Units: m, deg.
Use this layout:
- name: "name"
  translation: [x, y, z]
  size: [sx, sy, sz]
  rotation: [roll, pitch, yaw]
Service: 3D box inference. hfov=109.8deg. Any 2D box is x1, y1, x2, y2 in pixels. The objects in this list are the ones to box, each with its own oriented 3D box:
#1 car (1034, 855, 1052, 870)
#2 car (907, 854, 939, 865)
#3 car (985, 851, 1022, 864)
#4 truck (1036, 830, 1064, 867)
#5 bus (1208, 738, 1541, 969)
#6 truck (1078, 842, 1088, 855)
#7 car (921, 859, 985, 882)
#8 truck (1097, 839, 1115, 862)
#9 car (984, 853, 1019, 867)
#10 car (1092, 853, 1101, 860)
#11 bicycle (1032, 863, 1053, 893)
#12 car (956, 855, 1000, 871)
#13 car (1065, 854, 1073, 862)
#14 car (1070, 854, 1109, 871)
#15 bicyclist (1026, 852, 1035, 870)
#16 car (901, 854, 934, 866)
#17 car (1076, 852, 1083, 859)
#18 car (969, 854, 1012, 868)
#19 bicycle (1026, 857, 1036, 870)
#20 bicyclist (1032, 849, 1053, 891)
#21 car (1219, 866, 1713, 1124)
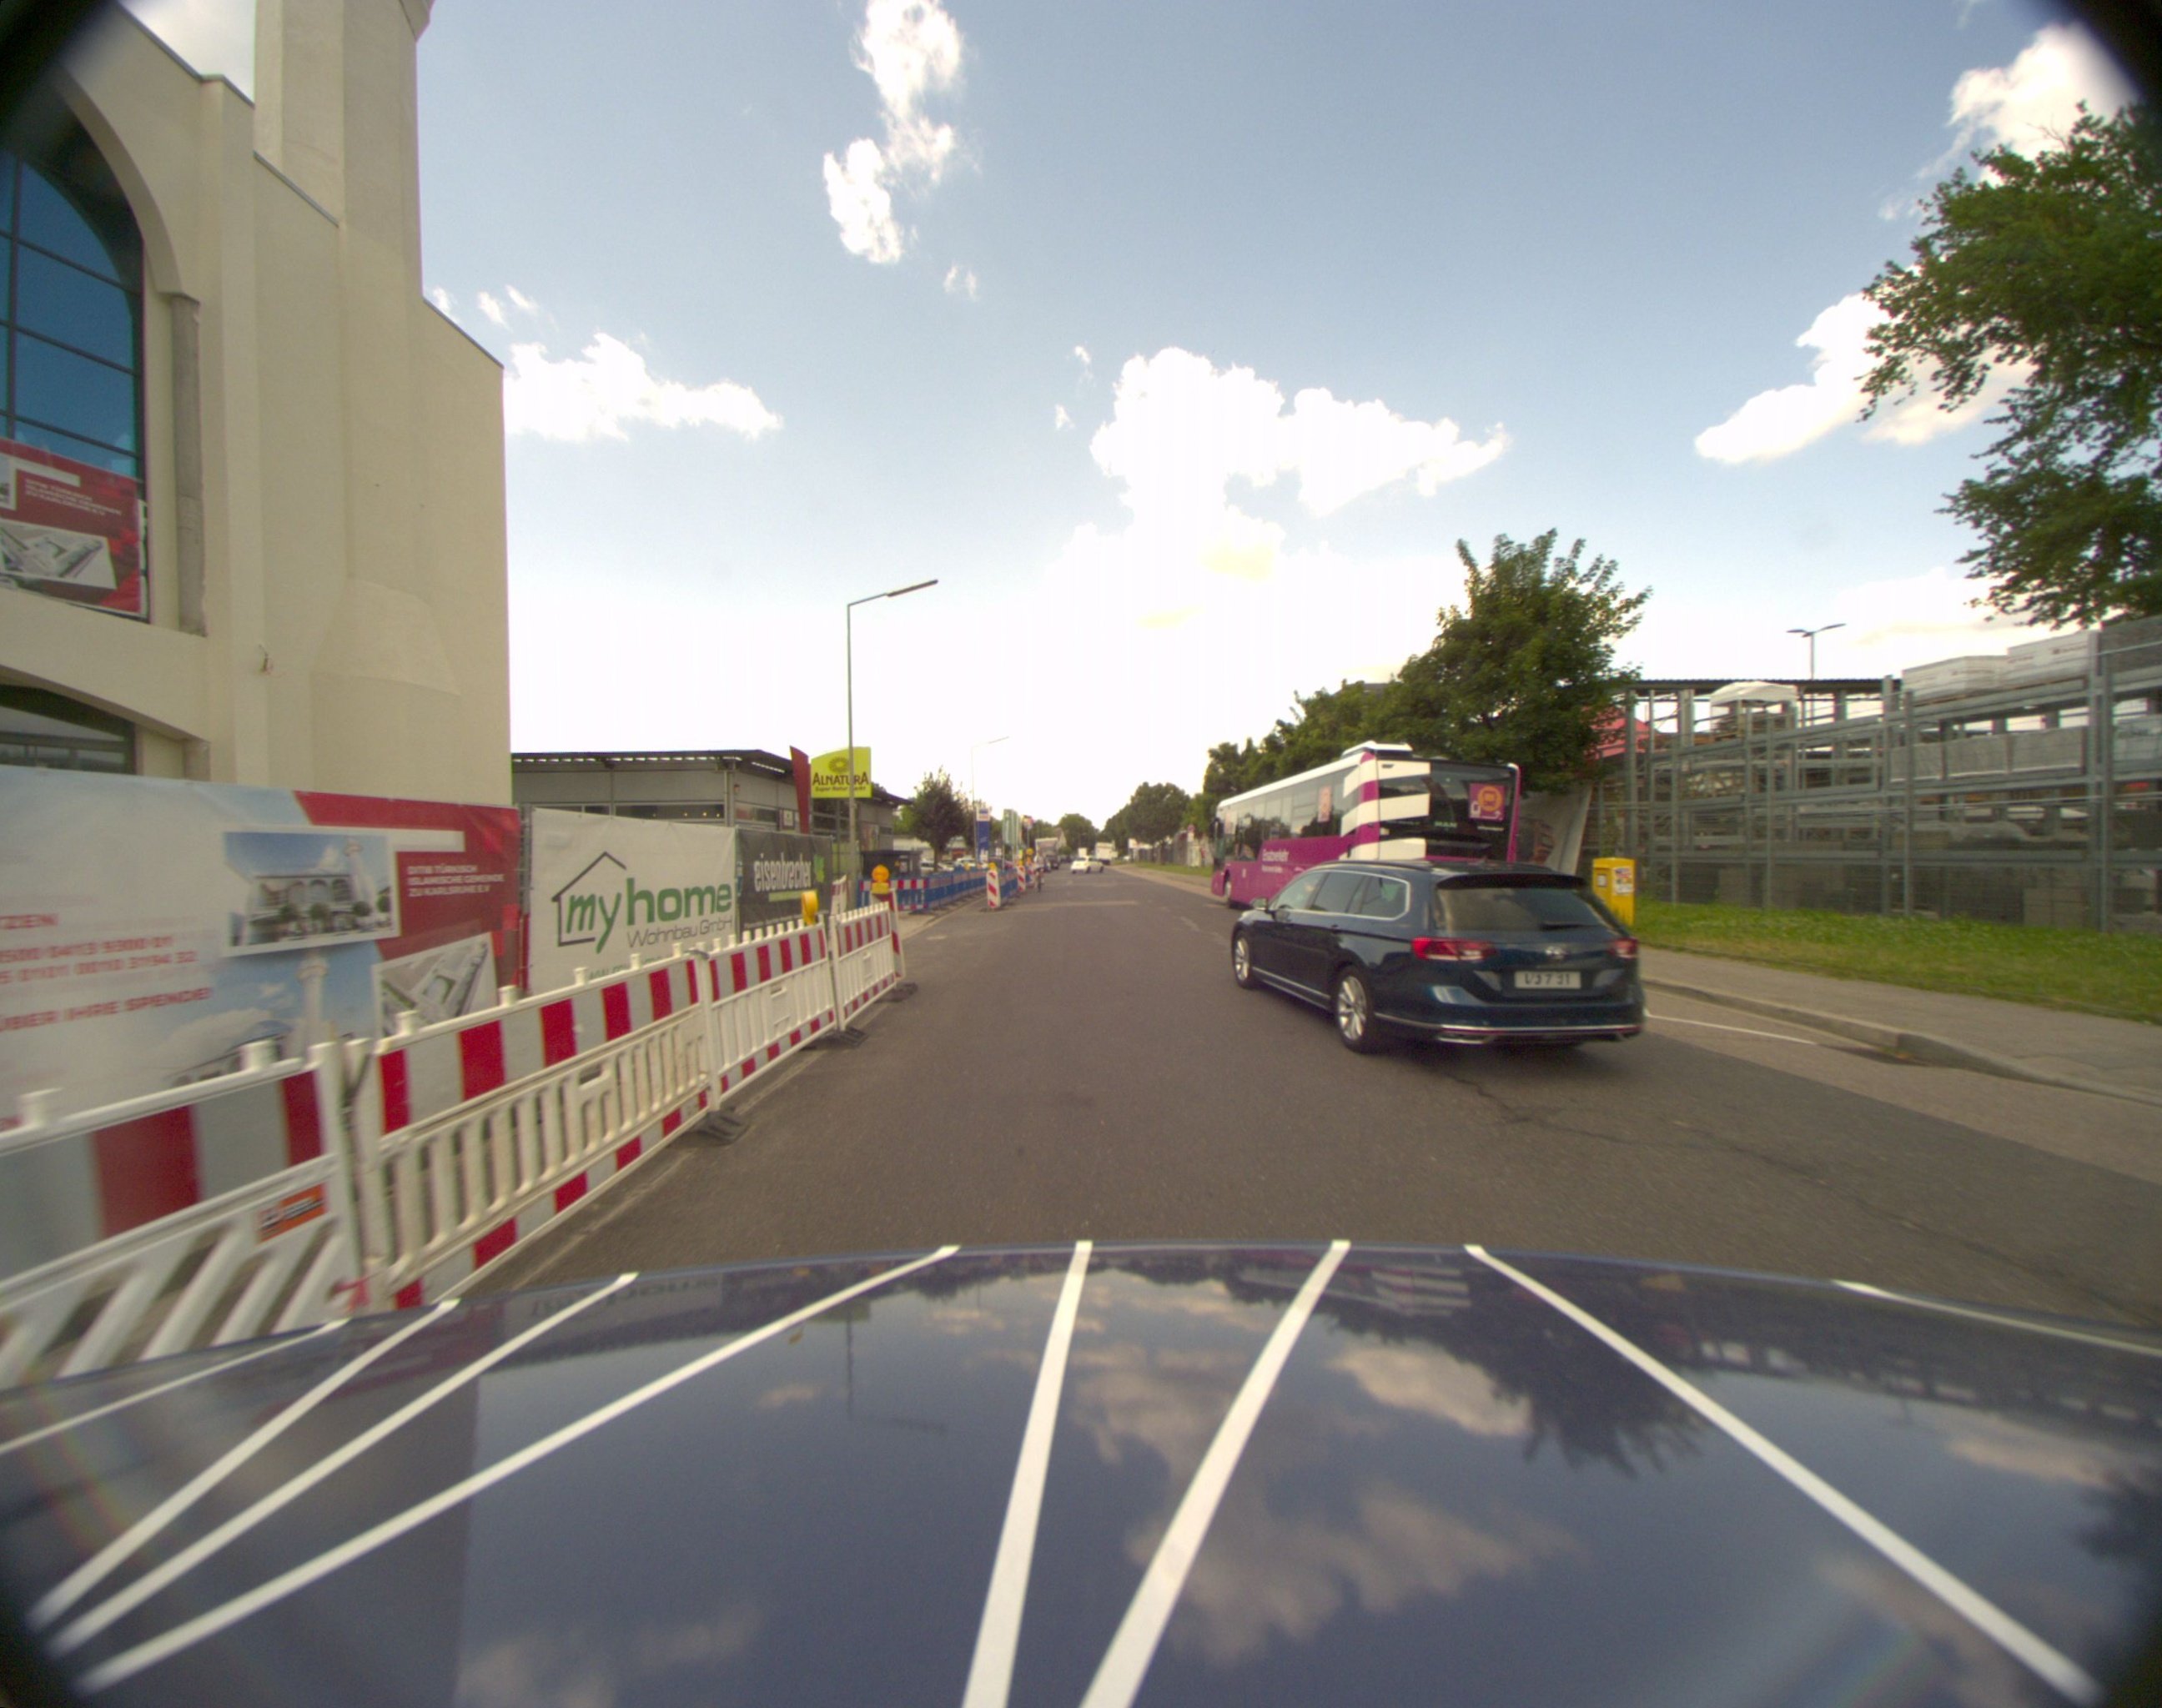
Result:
- name: "car"
  translation: [-3.825, 0.854, 76.935]
  size: [1.666, 1.332, 3.984]
  rotation: [-4, 0, -1]
- name: "car"
  translation: [-20.847, 0.698, 100.147]
  size: [3.946, 1.475, 1.724]
  rotation: [0, 0, -3]
- name: "car"
  translation: [-10.562, 0.502, 103.541]
  size: [4.906, 1.777, 1.902]
  rotation: [0, 0, -2]
- name: "truck"
  translation: [-3.651, -0.636, 90.851]
  size: [2.785, 4.092, 8.277]
  rotation: [-3, 0, -1]
- name: "bus"
  translation: [5.581, -0.033, 18.209]
  size: [2.670, 3.403, 13.216]
  rotation: [3, 0, 0]
- name: "truck"
  translation: [0.714, -1.660, 250.178]
  size: [2.979, 4.132, 9.665]
  rotation: [-1, 0, -1]
- name: "car"
  translation: [-8.753, 1.121, 52.121]
  size: [4.114, 1.455, 1.989]
  rotation: [0, 0, -2]
- name: "truck"
  translation: [4.213, -0.617, 130.324]
  size: [2.755, 3.701, 7.169]
  rotation: [1, 1, -1]
- name: "car"
  translation: [-8.997, 0.676, 86.044]
  size: [3.896, 1.513, 1.748]
  rotation: [0, 0, -6]
- name: "car"
  translation: [3.430, 0.517, 169.821]
  size: [1.983, 1.565, 3.999]
  rotation: [-1, 0, -1]
- name: "bicycle"
  translation: [-1.656, 1.034, 33.313]
  size: [0.800, 1.173, 2.626]
  rotation: [-2, 1, -1]
- name: "car"
  translation: [-9.553, 0.872, 70.609]
  size: [3.963, 1.402, 1.796]
  rotation: [1, 0, -4]
- name: "car"
  translation: [-2.424, 0.807, 154.347]
  size: [1.725, 1.565, 4.154]
  rotation: [-1, 0, -1]
- name: "car"
  translation: [0.792, 0.740, 66.886]
  size: [1.684, 1.461, 3.620]
  rotation: [1, 0, 35]
- name: "bicyclist"
  translation: [-5.296, 0.721, 80.286]
  size: [0.796, 1.899, 0.829]
  rotation: [3, 1, 1]
- name: "car"
  translation: [-21.092, 0.729, 97.897]
  size: [3.946, 1.475, 1.724]
  rotation: [0, 0, -3]
- name: "car"
  translation: [-0.379, 0.389, 194.749]
  size: [1.797, 1.881, 3.999]
  rotation: [-1, 0, -1]
- name: "car"
  translation: [-9.321, 0.734, 78.336]
  size: [4.319, 1.435, 1.846]
  rotation: [0, 0, -3]
- name: "bicycle"
  translation: [-5.303, 1.020, 80.276]
  size: [0.794, 1.287, 1.882]
  rotation: [3, 1, 1]
- name: "bicyclist"
  translation: [-1.670, 0.680, 33.299]
  size: [0.808, 1.782, 1.206]
  rotation: [-3, 1, -1]
- name: "car"
  translation: [2.750, 0.872, 6.764]
  size: [1.802, 1.450, 4.382]
  rotation: [0, 0, -7]
